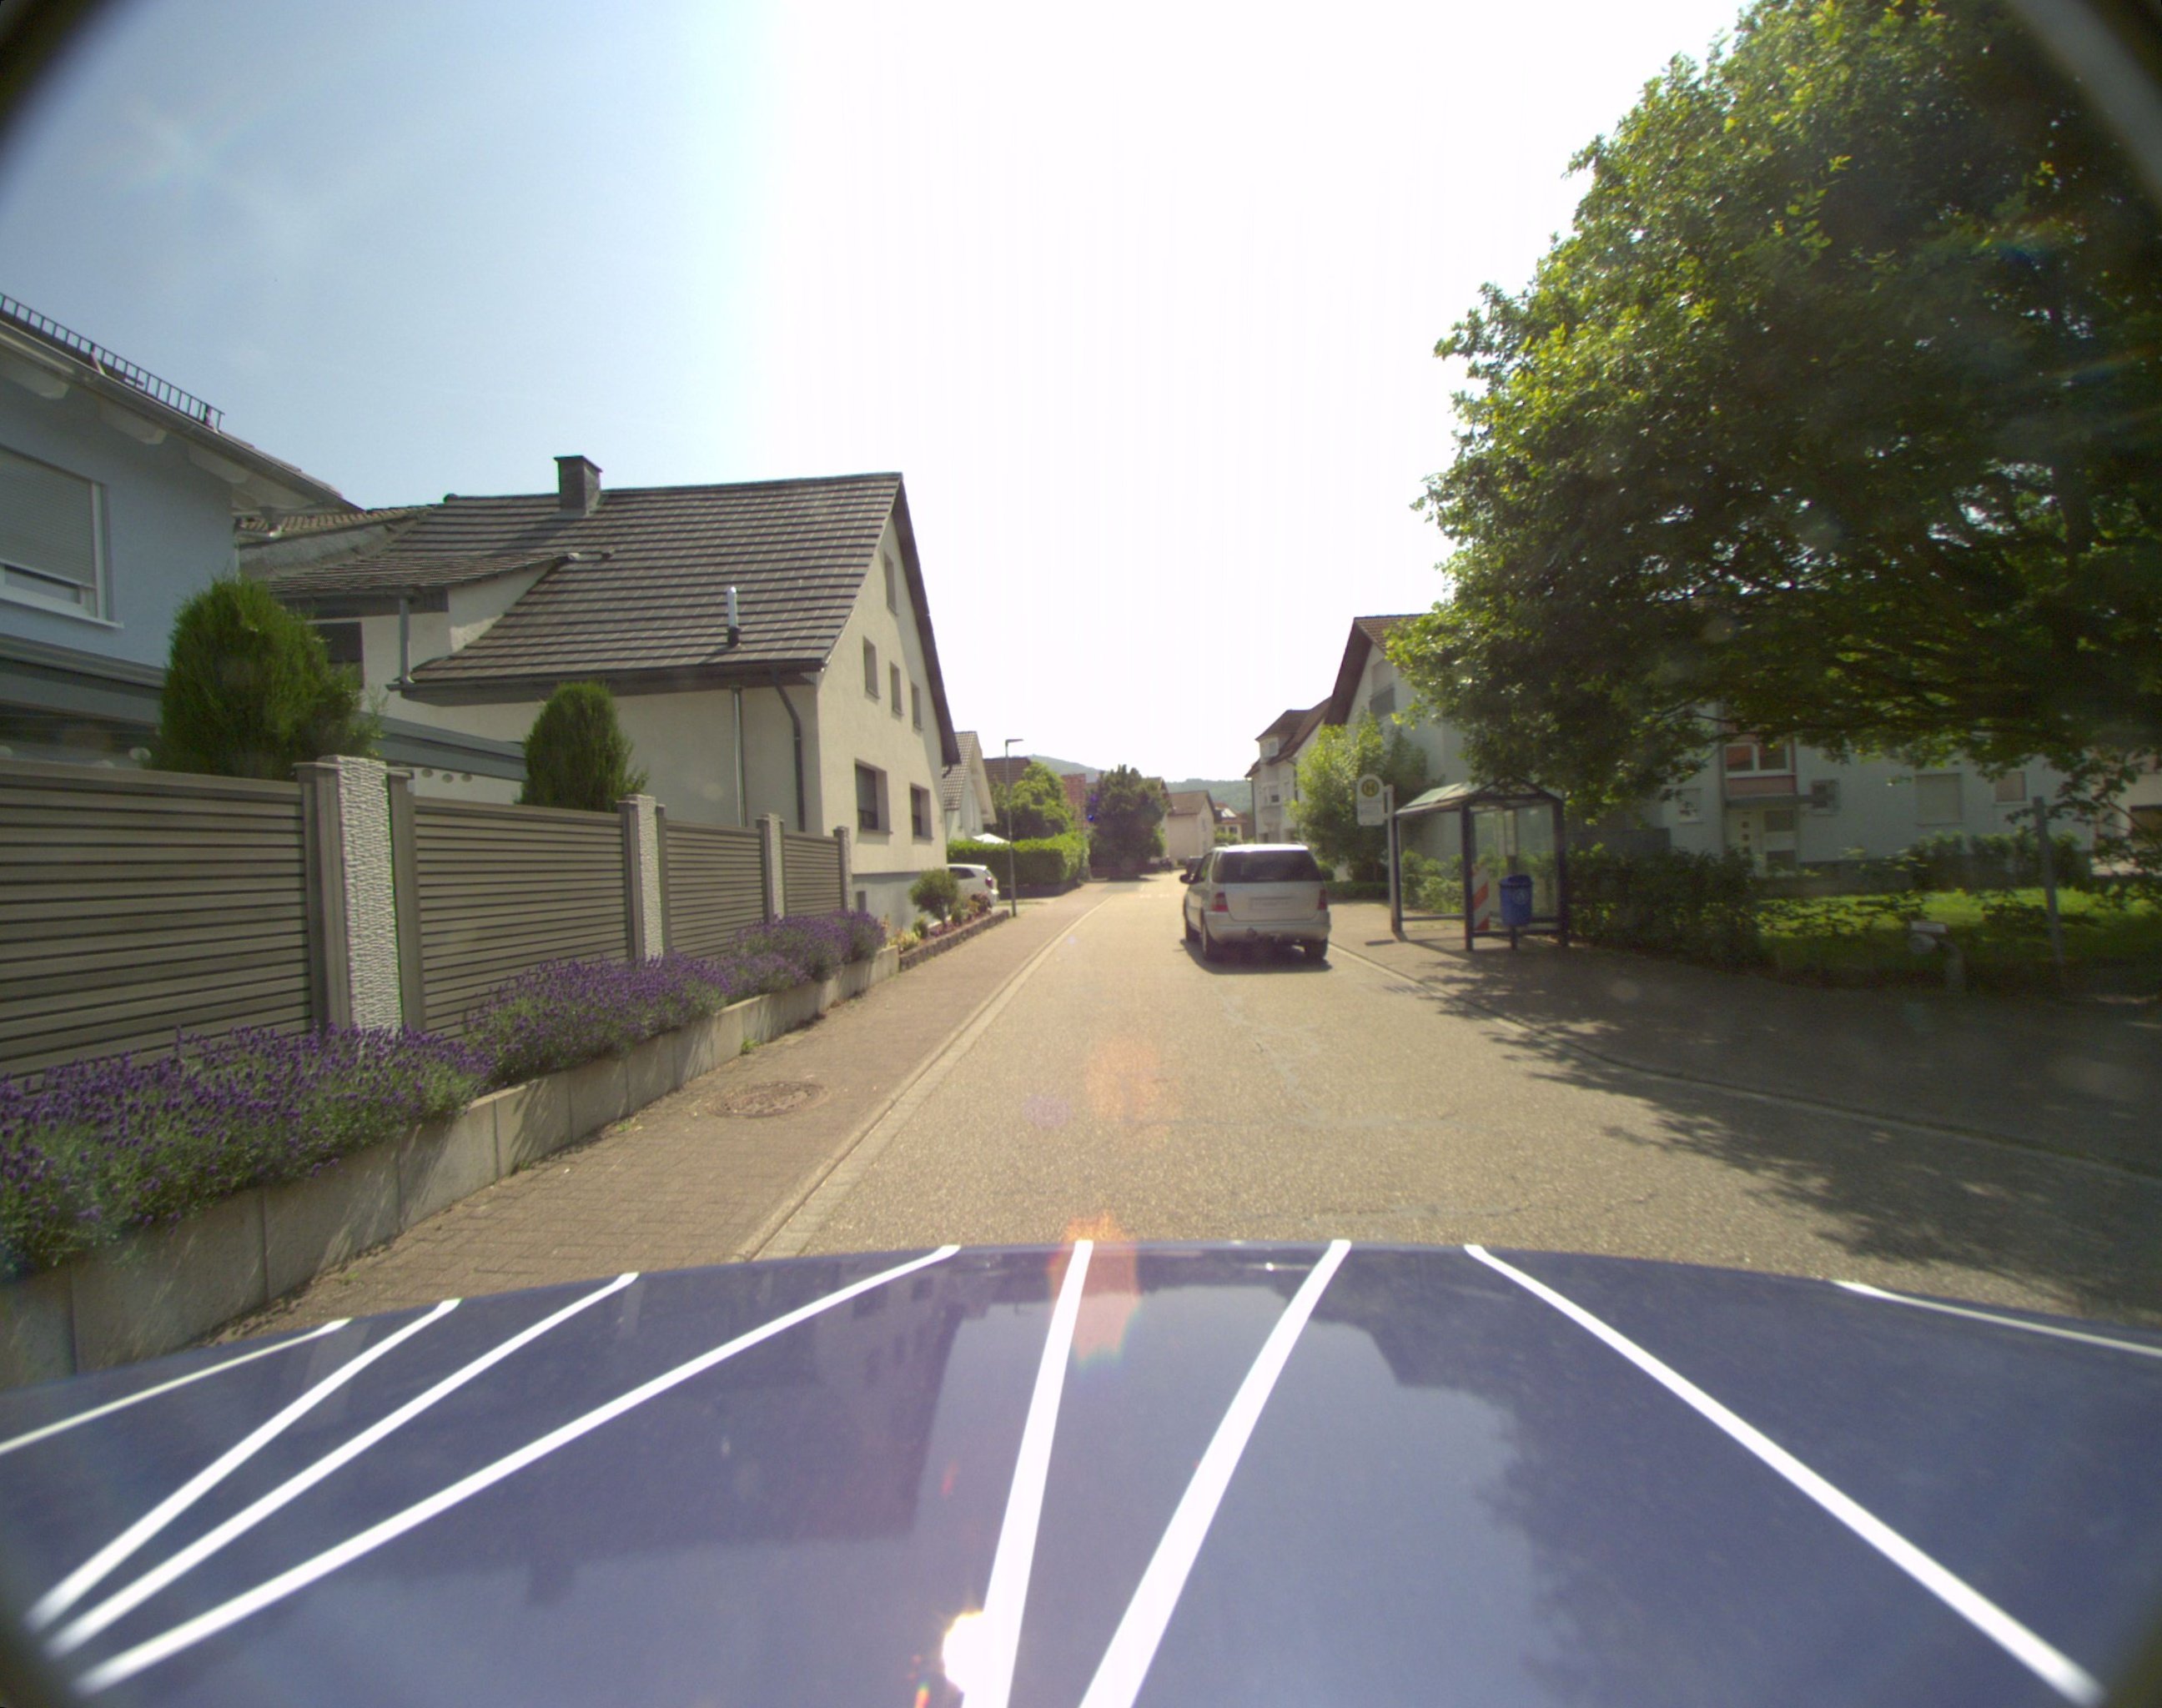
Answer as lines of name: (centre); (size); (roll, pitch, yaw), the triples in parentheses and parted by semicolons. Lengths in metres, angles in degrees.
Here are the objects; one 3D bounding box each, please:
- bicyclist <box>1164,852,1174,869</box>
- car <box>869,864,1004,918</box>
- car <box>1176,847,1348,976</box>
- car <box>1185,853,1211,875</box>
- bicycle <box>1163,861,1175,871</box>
bicyclist: (8.042, 0.583, 69.179); (0.546, 1.481, 0.798); (-2, 1, 37)
car: (-4.219, 1.076, 22.584); (3.667, 1.465, 1.766); (-1, -1, -1)
car: (2.777, 0.802, 12.700); (1.890, 1.756, 4.331); (-1, 0, 1)
car: (9.164, 0.763, 59.726); (1.780, 1.614, 4.107); (-2, 0, 6)
bicycle: (8.012, 1.099, 69.116); (0.520, 0.898, 1.315); (-2, 0, 36)
